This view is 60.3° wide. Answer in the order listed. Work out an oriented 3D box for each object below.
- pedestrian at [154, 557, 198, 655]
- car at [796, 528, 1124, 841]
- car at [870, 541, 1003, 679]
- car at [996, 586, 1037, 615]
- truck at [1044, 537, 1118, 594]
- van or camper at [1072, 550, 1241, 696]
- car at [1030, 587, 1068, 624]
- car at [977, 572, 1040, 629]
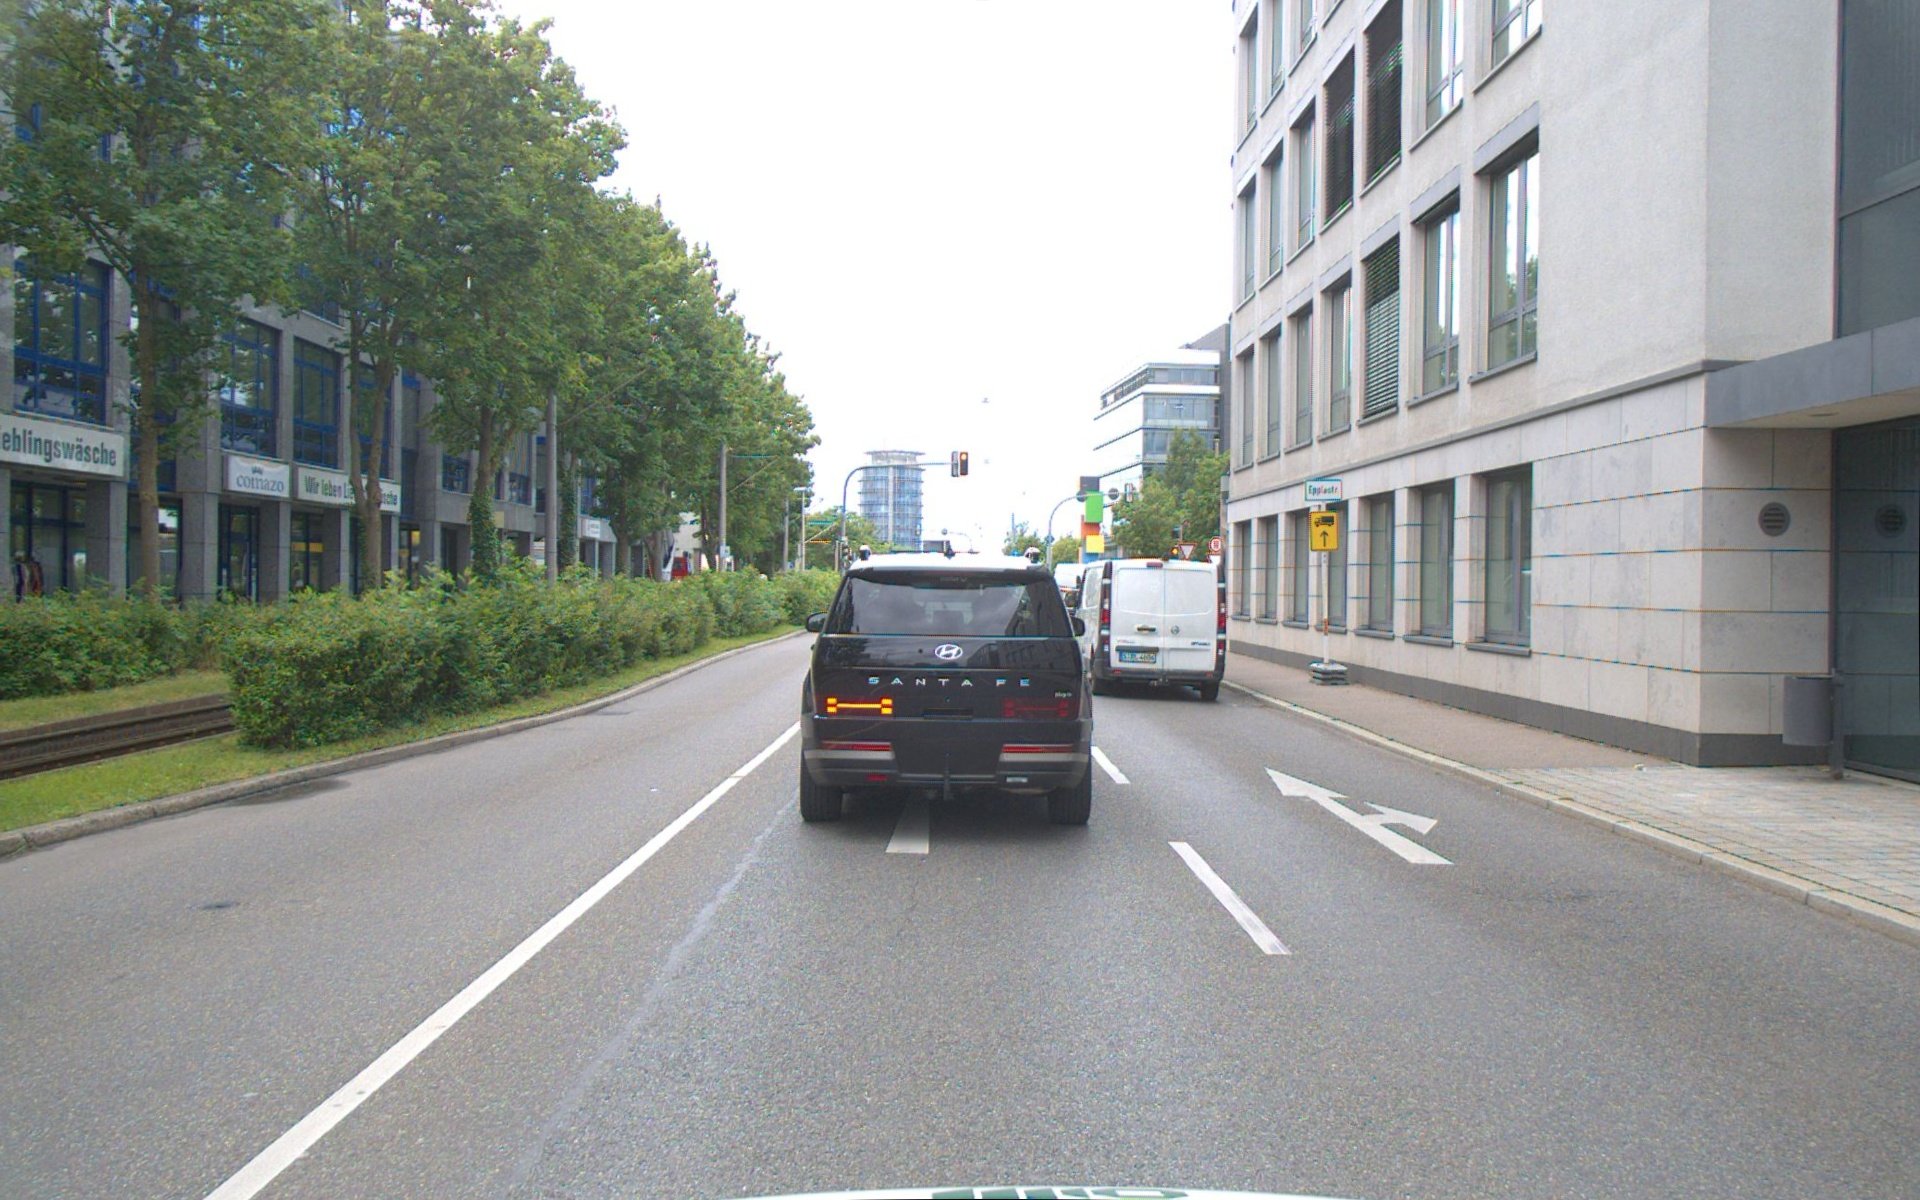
[{"bbox_3d":[-16.529,0.127,34.875,0.667,2.049,0.571,0,0,-1],"label":"pedestrian"},{"bbox_3d":[-0.125,0.487,11.717,1.871,1.780,4.393,1,0,-4],"label":"car"},{"bbox_3d":[-0.471,0.130,26.789,1.893,2.029,4.531,1,0,-4],"label":"car"},{"bbox_3d":[3.271,0.016,96.647,1.954,1.647,3.996,0,0,-5],"label":"car"},{"bbox_3d":[6.168,-1.732,85.431,2.289,2.796,6.471,0,0,-10],"label":"truck"},{"bbox_3d":[2.842,0.298,24.876,1.953,1.949,4.331,2,0,-1],"label":"van or camper"},{"bbox_3d":[4.077,0.216,76.135,1.723,1.637,4.189,1,0,2],"label":"car"},{"bbox_3d":[1.576,0.008,55.561,1.953,1.821,4.000,1,0,-1],"label":"car"}]
